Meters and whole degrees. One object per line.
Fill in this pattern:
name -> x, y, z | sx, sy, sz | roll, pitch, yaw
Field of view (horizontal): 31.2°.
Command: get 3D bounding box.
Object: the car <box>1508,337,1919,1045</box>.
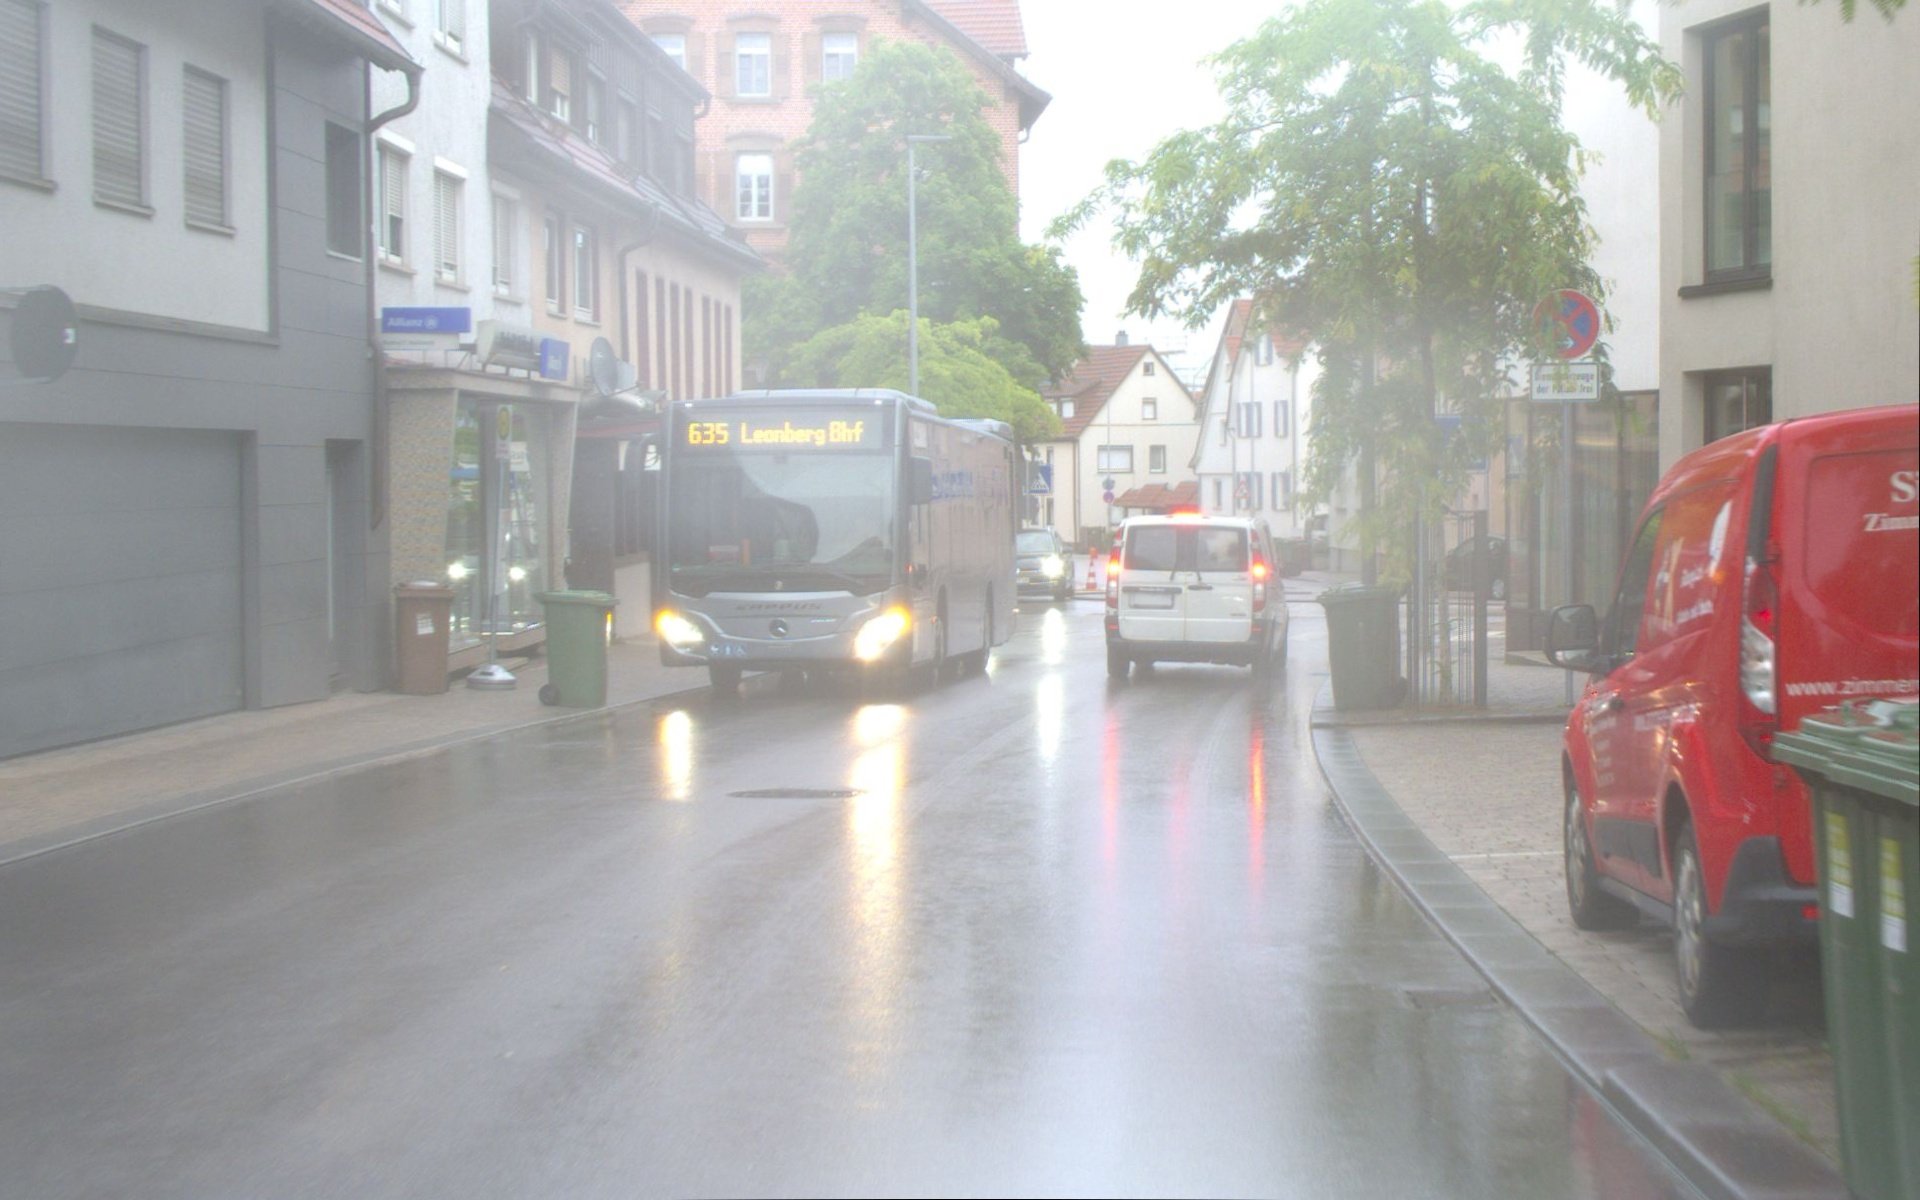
car -> 3.036, 0.215, 11.575 | 1.836, 1.900, 4.604 | -2, 0, 3

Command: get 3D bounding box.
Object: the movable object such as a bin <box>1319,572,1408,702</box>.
movable object such as a bin -> 3.705, 0.337, 31.519 | 0.752, 1.167, 0.630 | -1, 0, 11

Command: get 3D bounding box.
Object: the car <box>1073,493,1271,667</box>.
car -> 2.544, -0.240, 40.315 | 2.153, 1.892, 4.924 | 1, 0, 5

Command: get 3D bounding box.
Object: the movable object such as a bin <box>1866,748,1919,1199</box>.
movable object such as a bin -> 2.014, 0.814, 5.997 | 0.709, 1.084, 0.601 | -1, 1, 2

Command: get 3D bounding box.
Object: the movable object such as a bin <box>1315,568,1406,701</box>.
movable object such as a bin -> 3.596, 0.303, 30.865 | 0.752, 1.167, 0.630 | -1, 0, 11

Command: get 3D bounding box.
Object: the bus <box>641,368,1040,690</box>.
bus -> -1.039, -0.813, 38.516 | 2.724, 3.069, 10.944 | 1, 1, 7

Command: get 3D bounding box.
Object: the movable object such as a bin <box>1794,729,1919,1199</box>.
movable object such as a bin -> 2.030, 0.805, 6.598 | 0.709, 1.084, 0.601 | -1, 1, 2

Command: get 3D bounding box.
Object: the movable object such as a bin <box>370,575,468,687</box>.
movable object such as a bin -> -5.225, 0.294, 33.235 | 0.793, 1.056, 0.701 | 1, 1, 3

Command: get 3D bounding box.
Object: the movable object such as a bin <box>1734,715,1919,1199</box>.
movable object such as a bin -> 2.047, 0.799, 7.213 | 0.709, 1.084, 0.601 | -1, 1, 2

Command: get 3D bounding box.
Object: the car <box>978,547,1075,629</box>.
car -> 1.360, -0.271, 68.703 | 1.786, 1.502, 4.469 | 0, 2, 3

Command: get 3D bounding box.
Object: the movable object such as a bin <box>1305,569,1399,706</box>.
movable object such as a bin -> 3.419, 0.324, 29.958 | 0.752, 1.167, 0.630 | -1, 0, 11

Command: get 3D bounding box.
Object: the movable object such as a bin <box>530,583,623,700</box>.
movable object such as a bin -> -3.574, 0.379, 32.050 | 0.741, 1.056, 0.726 | 1, 1, 3
